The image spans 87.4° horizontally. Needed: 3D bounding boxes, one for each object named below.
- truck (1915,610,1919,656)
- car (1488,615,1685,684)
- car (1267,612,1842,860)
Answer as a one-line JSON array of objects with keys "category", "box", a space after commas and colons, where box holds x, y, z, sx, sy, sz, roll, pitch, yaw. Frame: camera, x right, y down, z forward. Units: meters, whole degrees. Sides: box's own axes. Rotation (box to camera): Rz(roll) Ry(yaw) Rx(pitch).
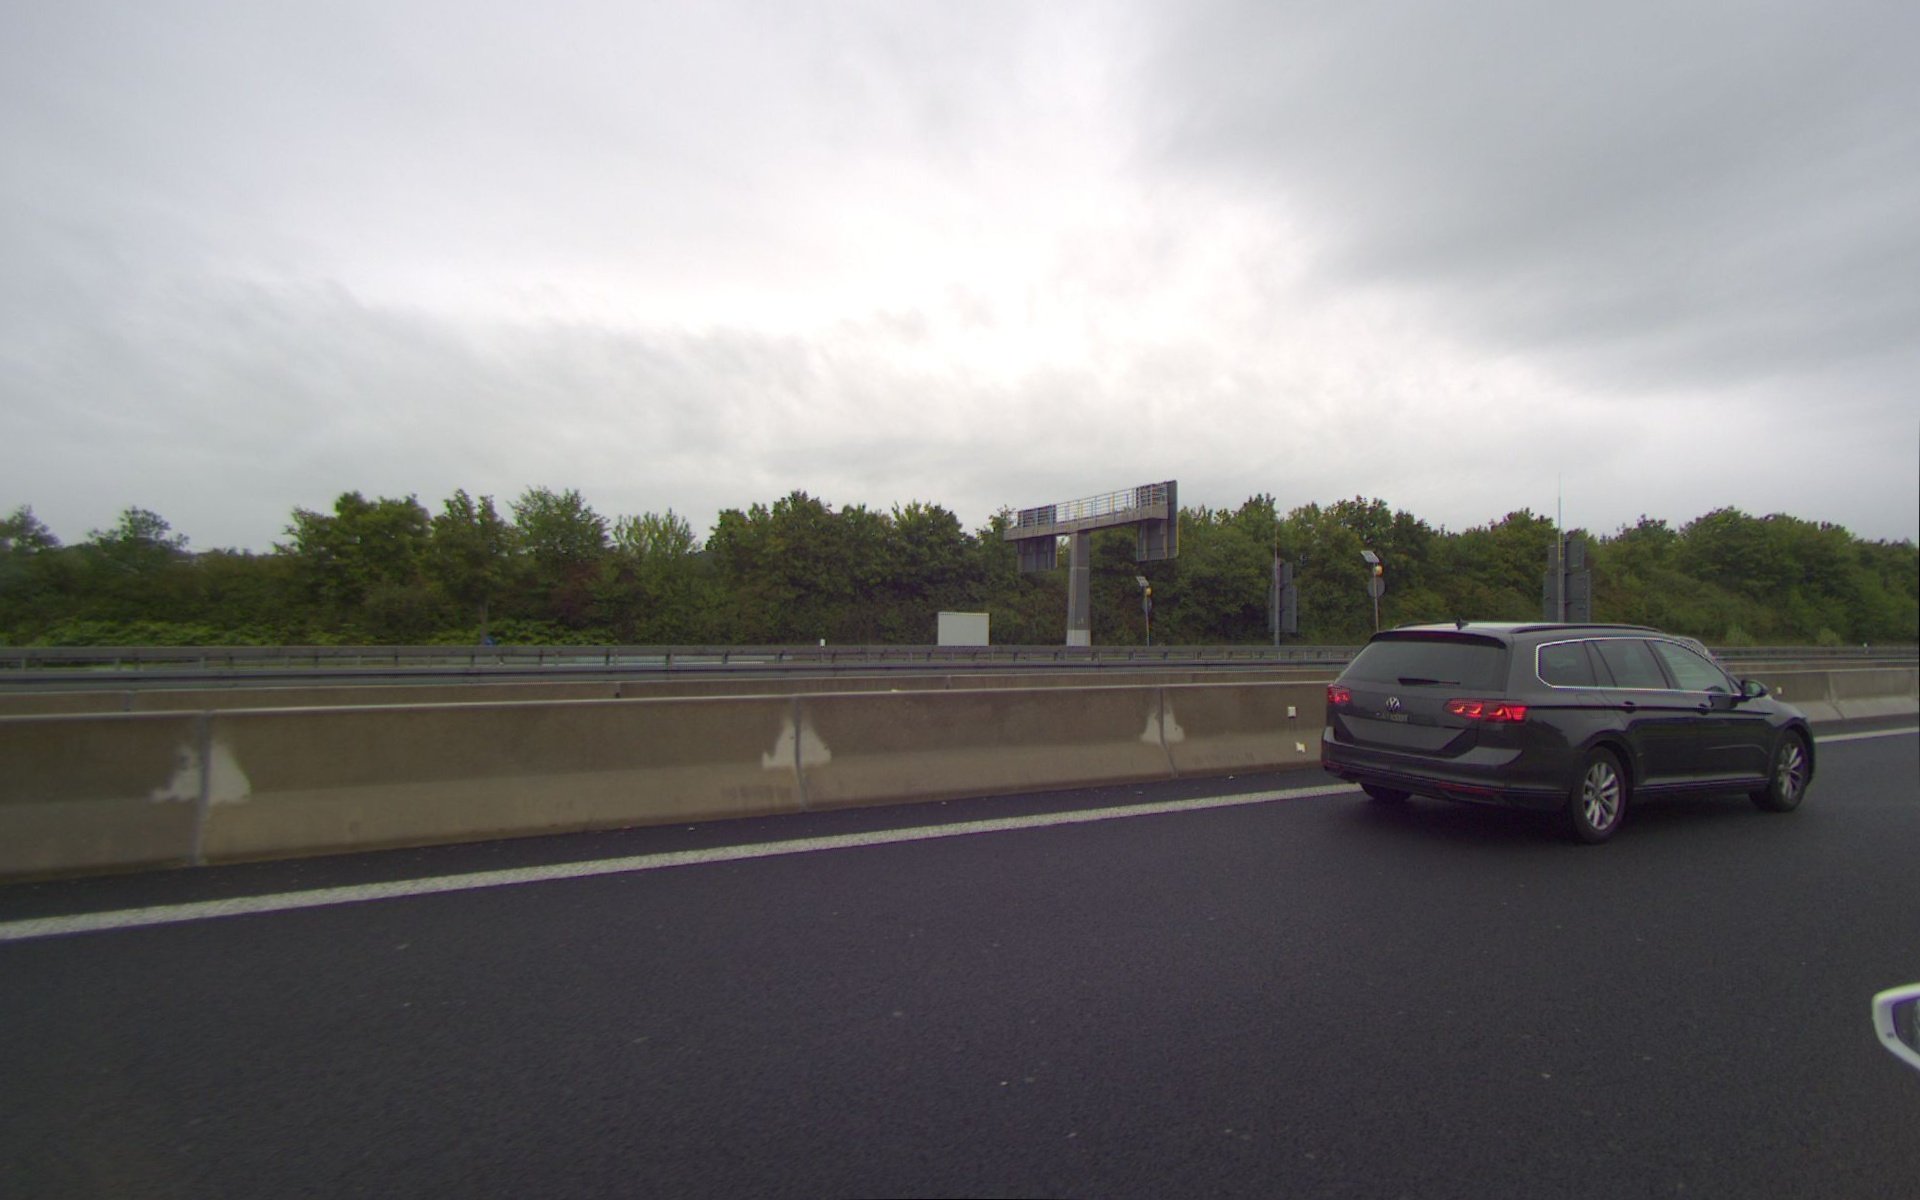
[{"category": "truck", "box": [89.545, 2.955, 88.367, 16.927, 3.859, 3.164, 1, -2, -29]}, {"category": "car", "box": [13.985, 1.080, 22.385, 4.390, 1.410, 1.848, 1, -2, -29]}, {"category": "car", "box": [4.850, 0.893, 8.021, 4.743, 1.478, 1.780, 2, 0, -29]}]
